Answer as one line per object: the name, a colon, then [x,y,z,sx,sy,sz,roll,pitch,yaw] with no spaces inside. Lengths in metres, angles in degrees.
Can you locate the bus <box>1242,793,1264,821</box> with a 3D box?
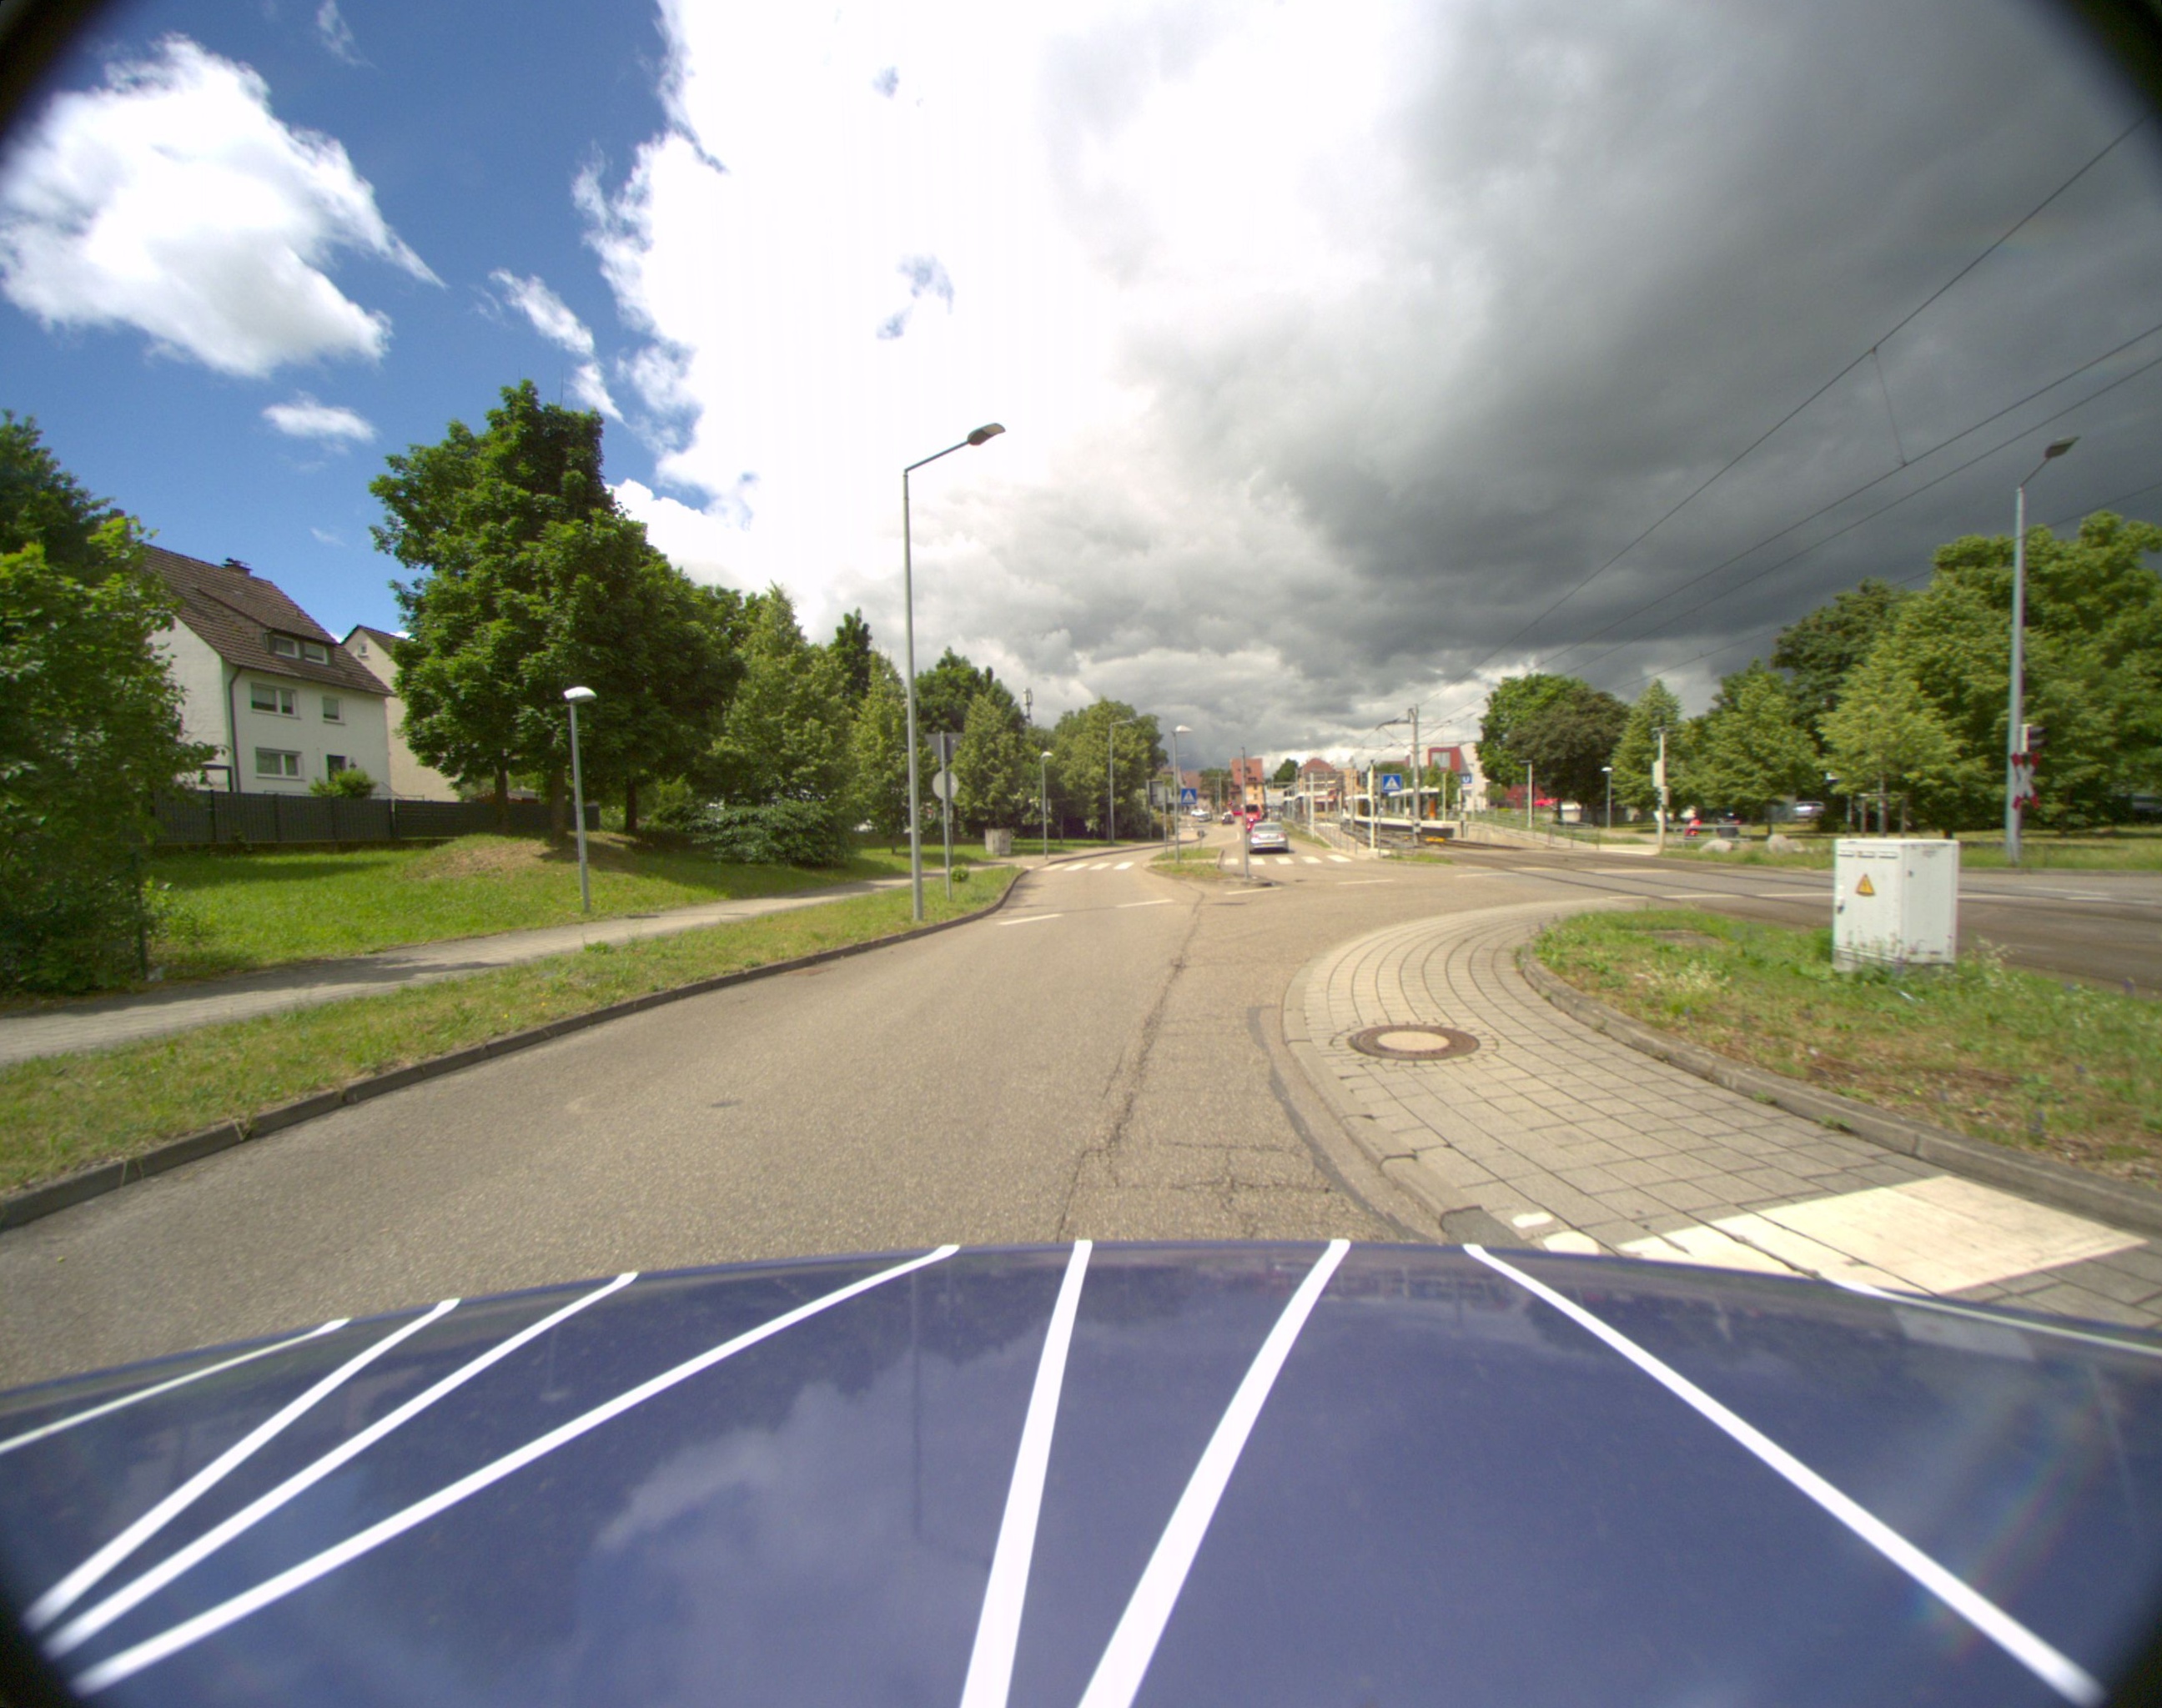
bus: [25.483,-6.869,112.332,2.920,3.865,10.384,-1,3,14]

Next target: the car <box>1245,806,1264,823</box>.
car: [16.647,-3.764,72.858,1.736,1.502,3.516,-2,3,13]

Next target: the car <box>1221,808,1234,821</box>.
car: [23.175,-6.260,119.952,1.848,1.917,3.779,-1,3,12]

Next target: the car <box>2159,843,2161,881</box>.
car: [18.417,-0.301,10.123,1.861,1.577,4.315,-2,3,-23]

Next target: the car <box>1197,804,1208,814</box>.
car: [23.998,-8.804,149.902,1.997,1.850,4.002,-1,3,12]

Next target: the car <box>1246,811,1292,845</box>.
car: [8.900,-1.256,36.034,1.938,1.375,4.663,-2,3,14]
